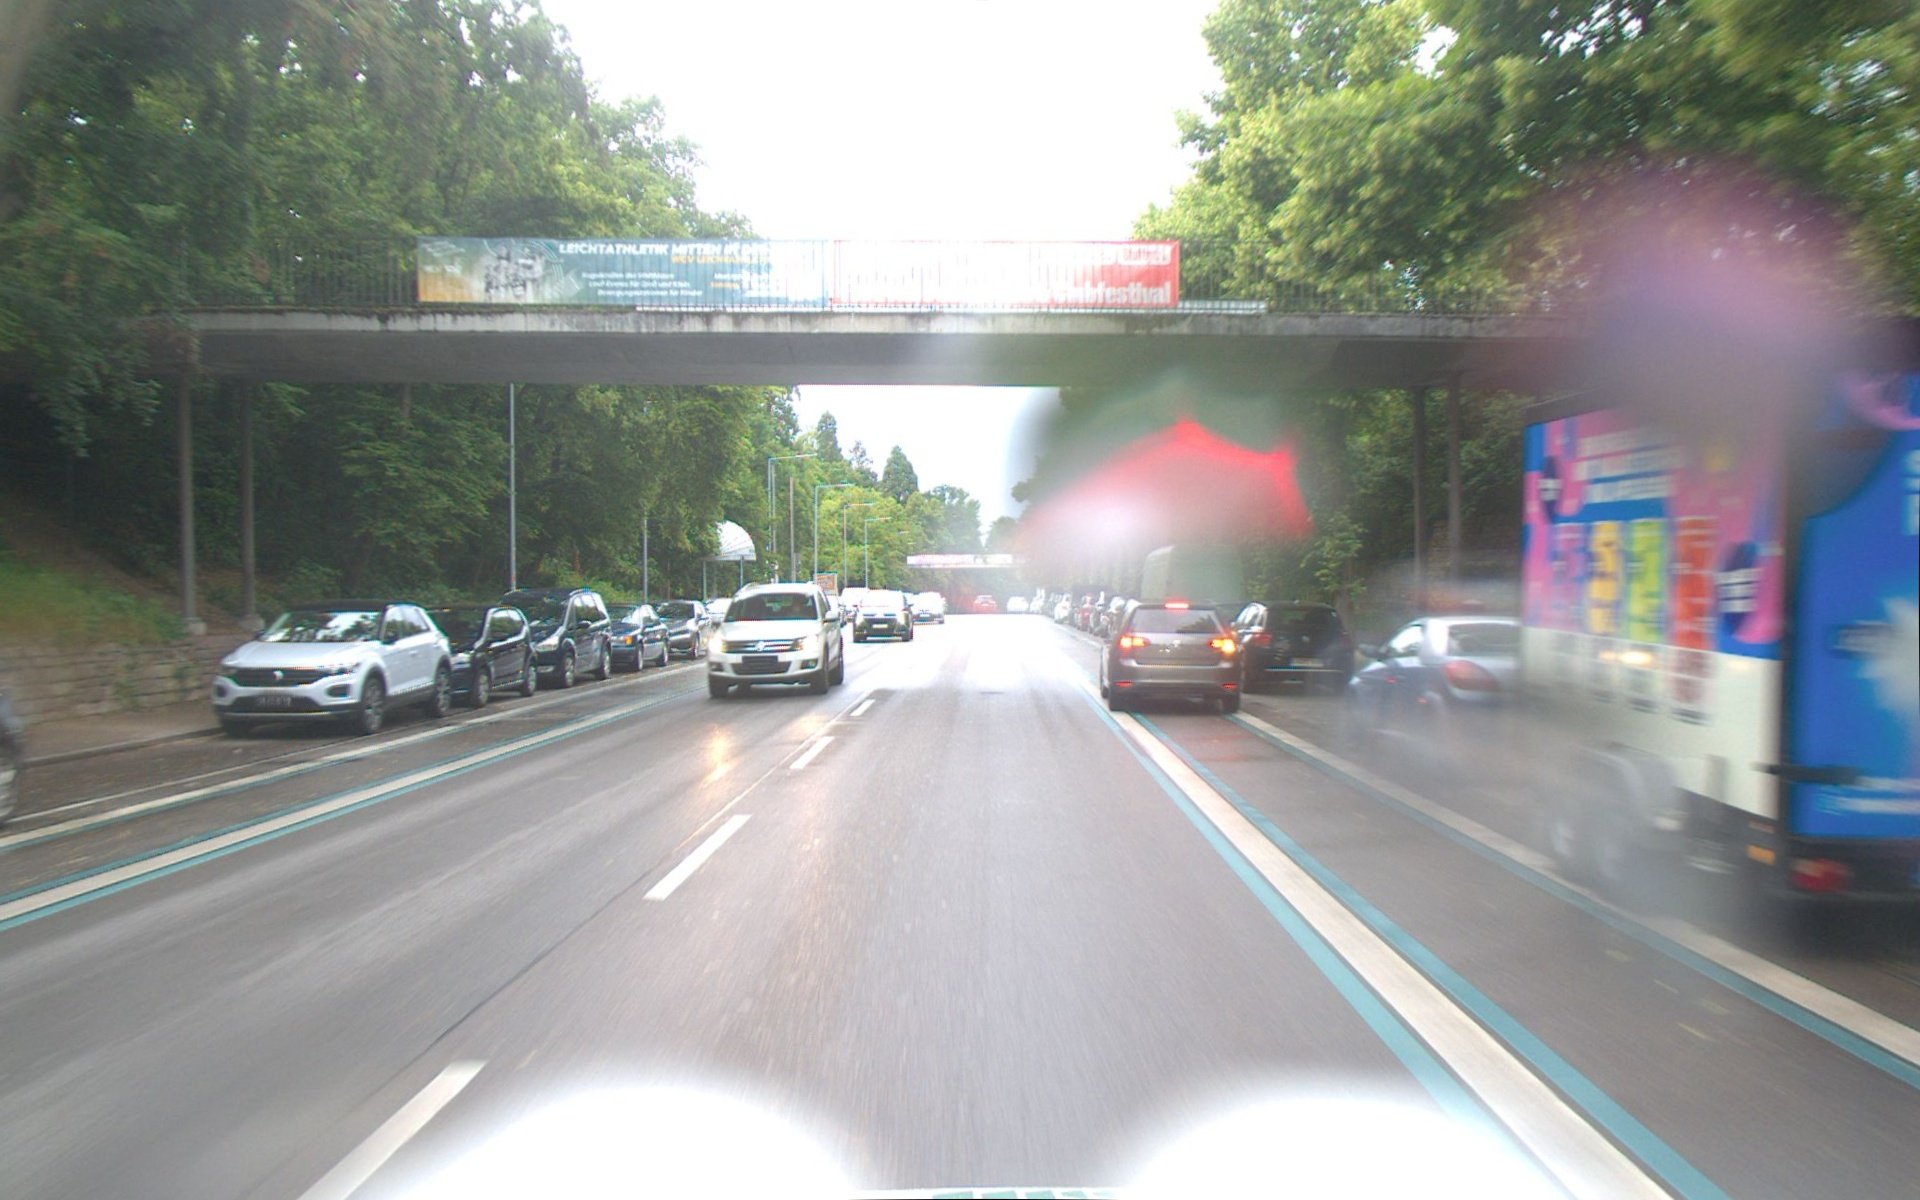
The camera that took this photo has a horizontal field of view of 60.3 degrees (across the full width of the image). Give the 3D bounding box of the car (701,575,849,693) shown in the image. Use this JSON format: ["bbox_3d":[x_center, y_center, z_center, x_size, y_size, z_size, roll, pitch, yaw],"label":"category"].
[{"bbox_3d":[-2.805,0.471,25.921,1.796,1.695,4.181,0,0,0],"label":"car"}]

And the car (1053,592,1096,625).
[{"bbox_3d":[5.778,0.414,84.079,1.752,1.570,4.888,1,0,-1],"label":"car"}]

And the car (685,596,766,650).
[{"bbox_3d":[-7.019,0.644,49.926,1.916,1.488,4.755,0,1,-2],"label":"car"}]

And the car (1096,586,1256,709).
[{"bbox_3d":[2.859,0.580,22.677,1.780,1.534,4.140,0,0,2],"label":"car"}]

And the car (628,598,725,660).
[{"bbox_3d":[-7.247,0.697,42.611,1.747,1.448,4.296,0,1,0],"label":"car"}]

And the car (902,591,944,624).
[{"bbox_3d":[-1.828,0.362,83.214,1.881,1.588,4.621,1,0,1],"label":"car"}]

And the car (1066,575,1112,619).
[{"bbox_3d":[6.139,-0.147,79.155,1.886,2.057,4.664,0,0,1],"label":"car"}]

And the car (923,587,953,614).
[{"bbox_3d":[-1.427,0.039,107.764,1.758,1.680,4.130,-2,0,2],"label":"car"}]

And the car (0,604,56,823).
[{"bbox_3d":[-7.498,0.815,10.119,1.794,1.502,4.039,0,1,-2],"label":"car"}]

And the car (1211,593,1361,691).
[{"bbox_3d":[5.239,0.622,27.048,1.651,1.441,4.197,0,0,0],"label":"car"}]

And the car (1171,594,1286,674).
[{"bbox_3d":[5.198,0.616,32.464,1.651,1.441,4.101,1,0,1],"label":"car"}]

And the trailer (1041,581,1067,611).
[{"bbox_3d":[6.942,-0.301,122.507,1.845,2.204,3.809,-1,0,1],"label":"trailer"}]

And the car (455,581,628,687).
[{"bbox_3d":[-7.631,0.557,30.673,1.949,1.772,4.838,0,1,0],"label":"car"}]

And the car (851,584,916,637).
[{"bbox_3d":[-2.493,0.318,54.879,1.925,1.656,4.321,-1,0,0],"label":"car"}]

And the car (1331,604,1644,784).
[{"bbox_3d":[4.689,0.764,15.269,1.552,1.376,3.861,1,0,-1],"label":"car"}]

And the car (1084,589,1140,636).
[{"bbox_3d":[5.534,0.415,60.736,1.720,1.617,4.499,1,0,1],"label":"car"}]

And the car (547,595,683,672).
[{"bbox_3d":[-7.491,0.677,36.405,1.943,1.498,4.898,1,1,0],"label":"car"}]

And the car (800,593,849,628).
[{"bbox_3d":[-6.296,0.481,77.337,2.035,1.508,4.672,0,1,-2],"label":"car"}]

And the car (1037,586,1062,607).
[{"bbox_3d":[6.858,-0.287,126.779,1.695,1.611,4.154,0,0,0],"label":"car"}]

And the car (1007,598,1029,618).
[{"bbox_3d":[4.886,0.667,139.813,1.695,1.611,4.037,-1,0,1],"label":"car"}]

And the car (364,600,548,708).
[{"bbox_3d":[-7.625,0.761,25.369,1.576,1.464,3.844,0,1,1],"label":"car"}]

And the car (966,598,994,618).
[{"bbox_3d":[1.536,0.614,131.390,2.097,1.518,4.497,0,0,-1],"label":"car"}]

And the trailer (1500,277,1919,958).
[{"bbox_3d":[4.464,0.064,8.815,1.912,2.807,4.007,0,0,1],"label":"trailer"}]

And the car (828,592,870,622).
[{"bbox_3d":[-6.435,0.368,96.455,1.949,1.633,4.986,-1,1,2],"label":"car"}]

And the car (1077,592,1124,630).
[{"bbox_3d":[5.763,0.446,68.307,1.651,1.478,4.166,1,0,1],"label":"car"}]

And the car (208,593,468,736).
[{"bbox_3d":[-7.685,0.721,20.871,1.653,1.573,4.233,0,1,0],"label":"car"}]

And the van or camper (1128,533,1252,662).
[{"bbox_3d":[5.406,-0.075,39.813,2.000,2.777,6.900,1,0,0],"label":"van or camper"}]

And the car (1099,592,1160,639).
[{"bbox_3d":[5.654,0.496,55.517,1.651,1.481,4.147,1,0,1],"label":"car"}]

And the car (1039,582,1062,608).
[{"bbox_3d":[7.566,-0.415,138.979,1.850,2.164,4.046,1,0,2],"label":"car"}]

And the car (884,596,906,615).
[{"bbox_3d":[-5.547,0.446,141.292,1.832,1.569,4.053,0,1,-2],"label":"car"}]
